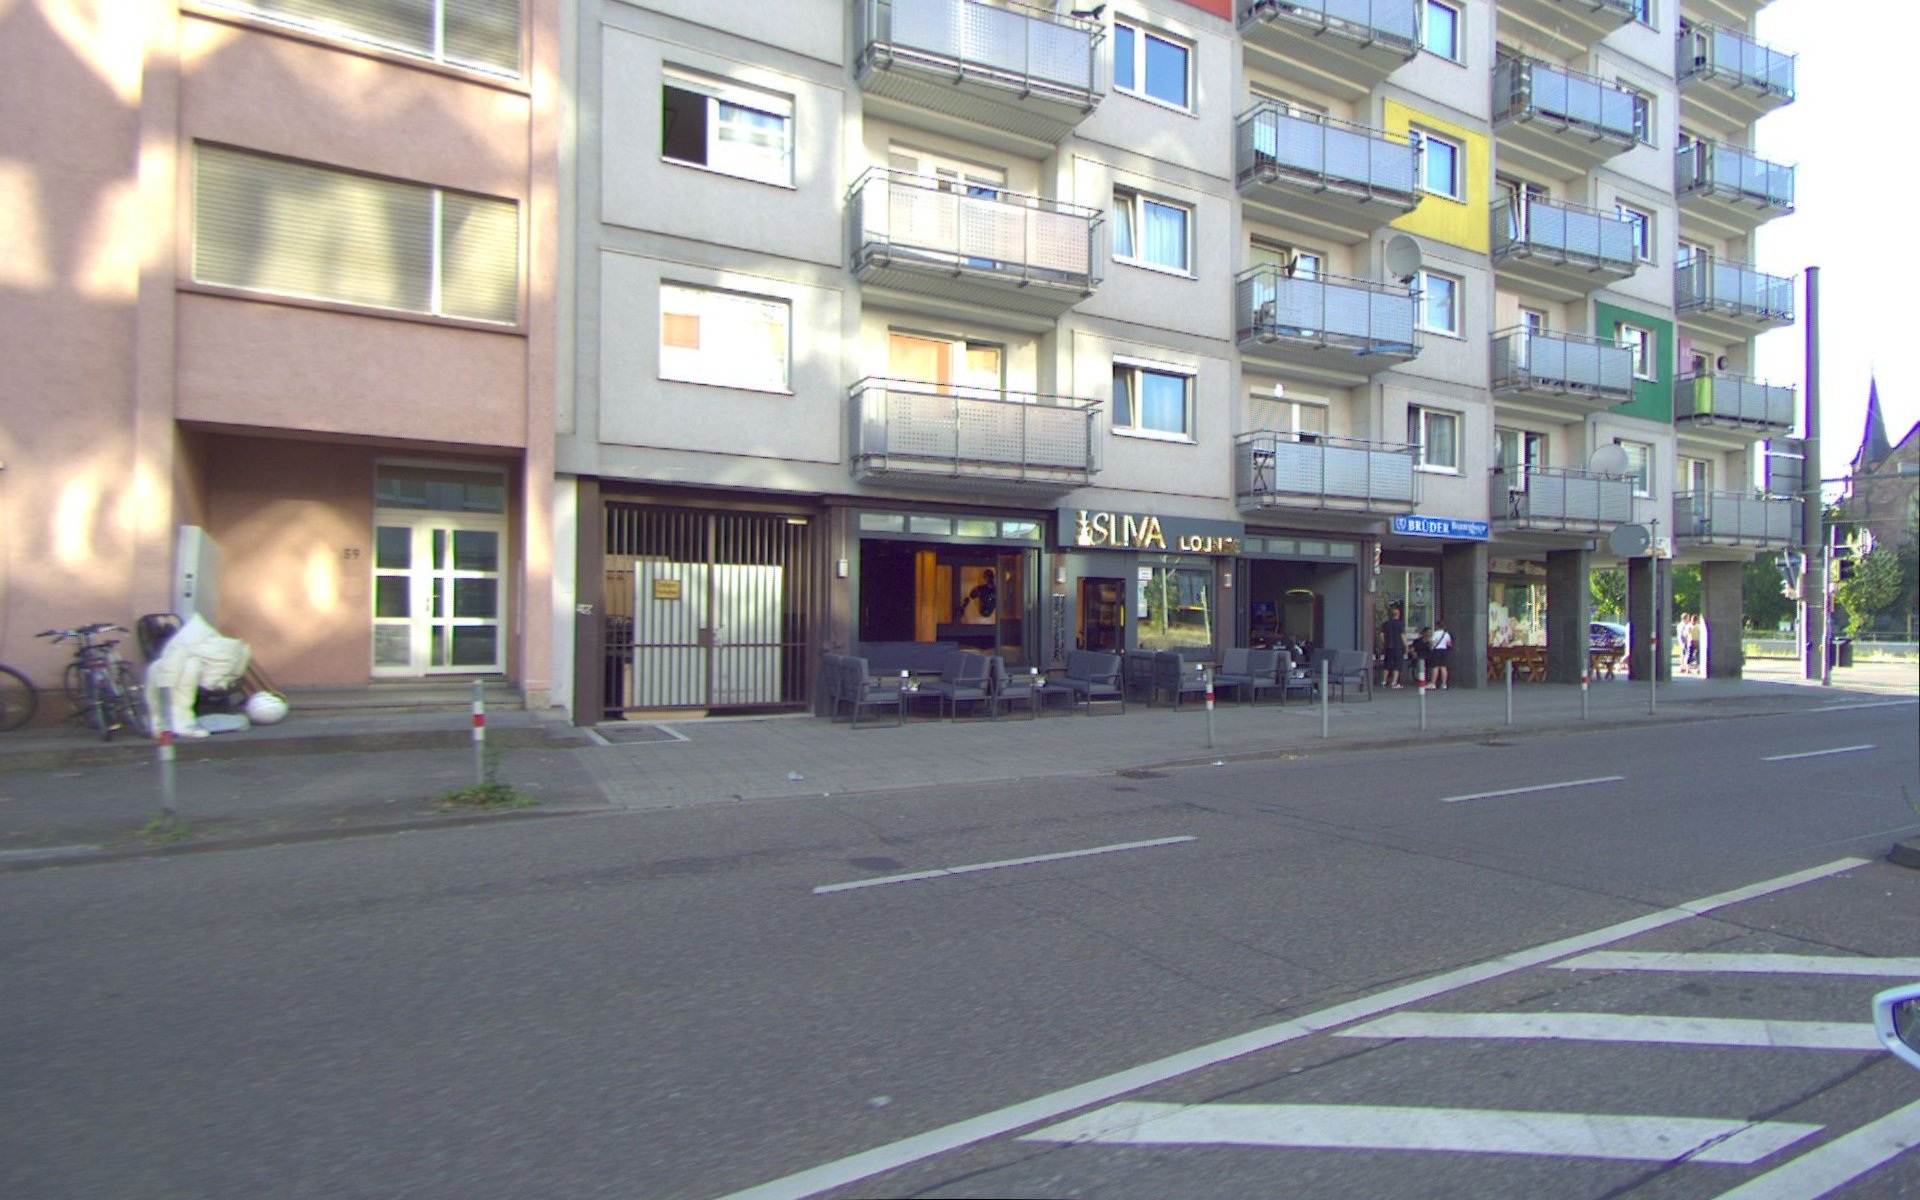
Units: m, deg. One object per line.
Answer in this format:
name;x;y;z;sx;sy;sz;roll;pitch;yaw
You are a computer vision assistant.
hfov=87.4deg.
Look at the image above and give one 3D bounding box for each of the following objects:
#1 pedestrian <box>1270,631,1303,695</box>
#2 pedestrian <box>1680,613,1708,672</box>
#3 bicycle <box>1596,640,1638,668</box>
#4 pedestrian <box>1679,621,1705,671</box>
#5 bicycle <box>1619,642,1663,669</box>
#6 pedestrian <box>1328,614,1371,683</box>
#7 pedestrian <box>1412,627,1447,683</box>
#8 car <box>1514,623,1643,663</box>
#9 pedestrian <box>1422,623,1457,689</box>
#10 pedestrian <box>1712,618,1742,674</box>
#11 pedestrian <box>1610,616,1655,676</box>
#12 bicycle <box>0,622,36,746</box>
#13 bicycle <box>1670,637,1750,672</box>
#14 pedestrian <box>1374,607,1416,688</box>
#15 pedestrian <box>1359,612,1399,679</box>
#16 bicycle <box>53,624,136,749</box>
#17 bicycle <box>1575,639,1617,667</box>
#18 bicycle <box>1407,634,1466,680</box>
pedestrian;6.338;1.209;19.479;0.514;1.219;0.551;0;-1;30
pedestrian;22.544;1.291;30.862;0.463;1.792;0.550;1;-1;-26
bicycle;22.306;1.826;34.092;1.683;0.919;0.494;1;-1;-29
pedestrian;23.016;1.428;31.601;0.569;1.551;0.466;1;-1;-29
bicycle;22.640;1.839;33.384;1.683;0.851;0.494;1;-1;-29
pedestrian;9.174;1.136;23.658;0.777;1.599;0.559;1;-1;-27
pedestrian;10.851;1.262;23.218;0.521;1.256;0.556;0;-1;-13
car;26.199;1.784;42.719;1.812;1.594;4.388;1;-1;-26
pedestrian;10.289;1.193;21.559;0.472;1.402;0.484;0;-1;-8
pedestrian;23.348;1.393;30.582;0.566;1.663;0.469;0;-1;-8
pedestrian;20.385;1.383;30.471;0.664;1.781;0.921;1;-1;-19
bicycle;-9.030;0.748;9.226;0.544;1.054;1.659;1;0;-34
bicycle;26.807;1.937;35.929;1.148;1.183;2.034;1;-1;-29
pedestrian;9.414;1.028;21.765;0.764;1.723;0.561;0;-1;16
pedestrian;10.129;1.095;24.288;0.779;1.599;0.558;1;-1;-34
bicycle;-8.330;0.784;9.653;0.545;1.054;1.654;1;0;-42
bicycle;21.905;1.817;34.582;1.683;0.919;0.494;1;-1;-29
bicycle;11.547;1.375;24.339;1.439;1.095;0.584;2;-1;-31
